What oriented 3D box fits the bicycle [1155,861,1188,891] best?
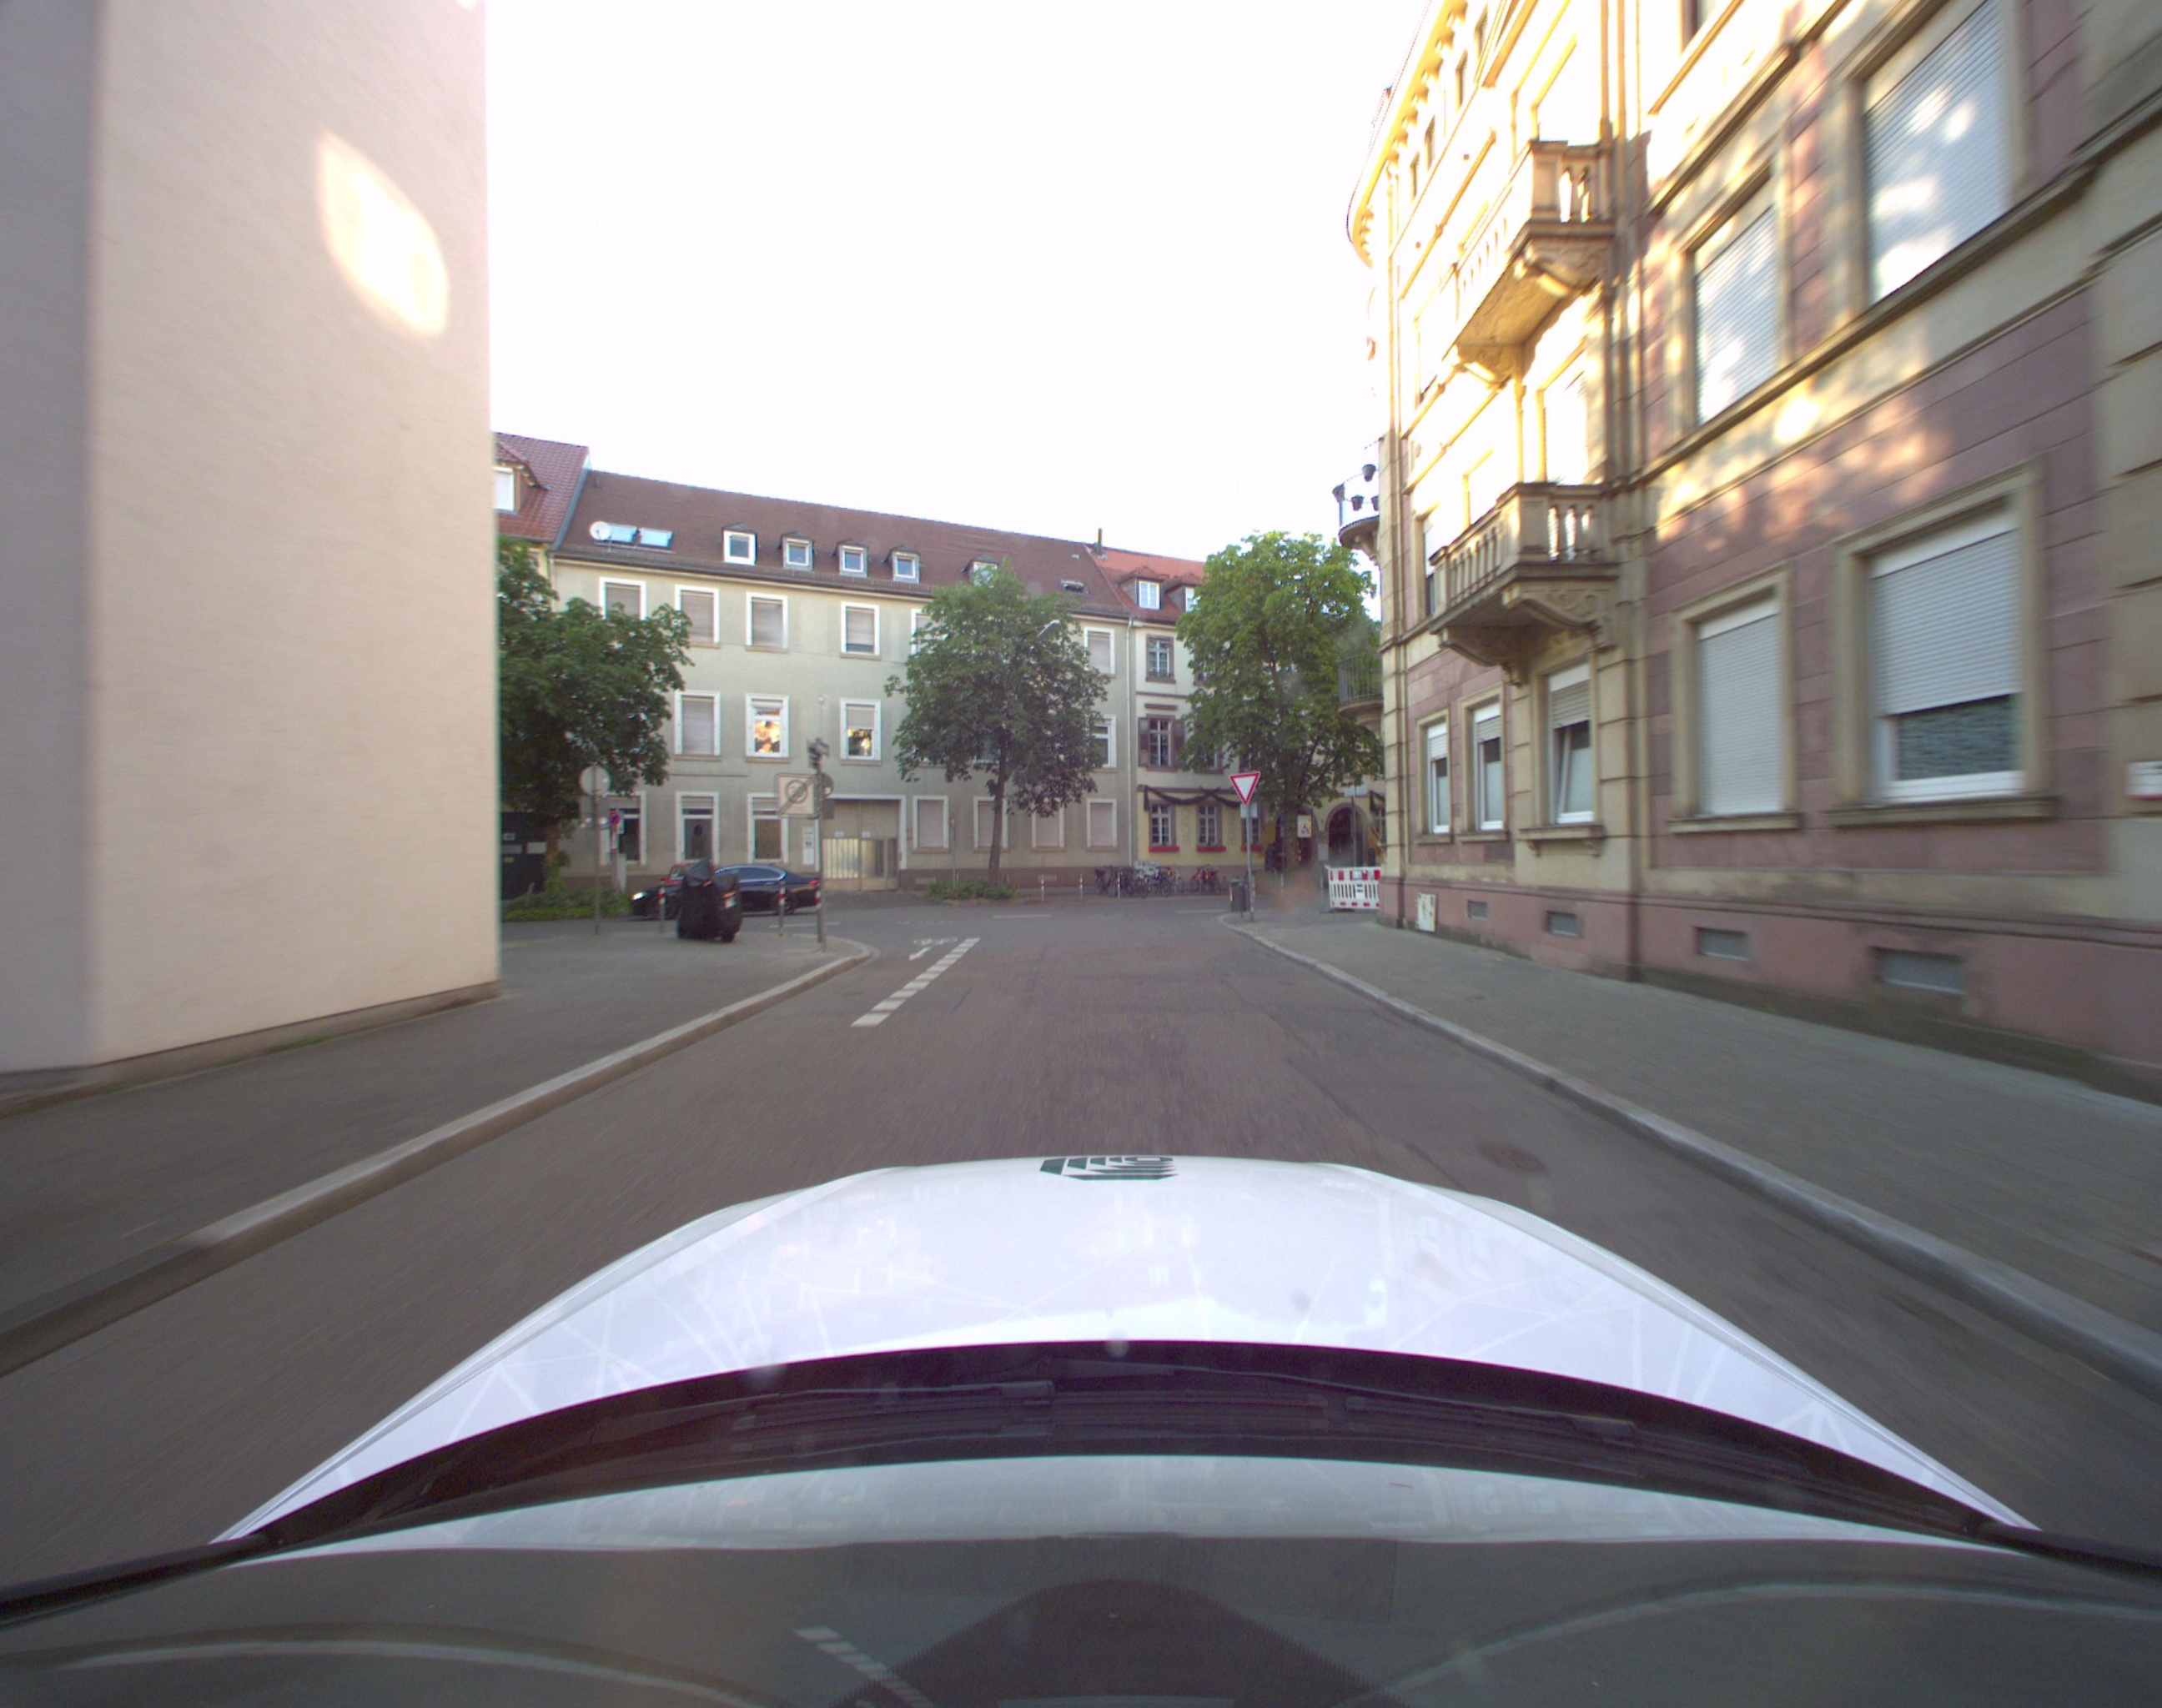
[{"bbox_3d":[3.628,0.872,32.845,0.422,1.145,2.027,-1,0,-22],"label":"bicycle"}]

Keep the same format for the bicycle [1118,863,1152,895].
[{"bbox_3d":[2.003,0.919,30.402,0.446,1.145,2.028,-1,0,-21],"label":"bicycle"}]

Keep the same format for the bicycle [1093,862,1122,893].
[{"bbox_3d":[1.027,0.883,31.594,0.446,1.145,2.030,-1,0,-18],"label":"bicycle"}]

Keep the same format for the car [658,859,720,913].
[{"bbox_3d":[-12.106,0.931,25.289,1.567,1.475,3.639,-1,1,-23],"label":"car"}]

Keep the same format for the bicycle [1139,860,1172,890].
[{"bbox_3d":[2.950,0.823,32.647,0.422,1.145,2.027,-1,0,-22],"label":"bicycle"}]

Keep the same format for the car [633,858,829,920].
[{"bbox_3d":[-9.347,0.875,21.965,4.676,1.450,1.753,-1,0,-25],"label":"car"}]

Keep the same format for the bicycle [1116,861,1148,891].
[{"bbox_3d":[1.976,0.846,31.976,0.422,1.145,2.027,-1,0,-22],"label":"bicycle"}]

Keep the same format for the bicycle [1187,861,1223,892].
[{"bbox_3d":[4.915,0.875,32.294,0.422,1.145,2.027,-1,0,-22],"label":"bicycle"}]

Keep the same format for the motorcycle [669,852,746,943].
[{"bbox_3d":[-6.868,0.747,14.922,0.673,1.555,2.136,-1,0,-42],"label":"motorcycle"}]

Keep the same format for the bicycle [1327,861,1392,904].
[{"bbox_3d":[7.666,0.776,22.401,1.871,1.089,0.362,-2,-1,-22],"label":"bicycle"}]

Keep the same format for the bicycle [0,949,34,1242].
[{"bbox_3d":[-4.238,0.929,2.284,0.399,1.102,1.810,0,0,-5],"label":"bicycle"}]

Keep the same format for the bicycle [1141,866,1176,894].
[{"bbox_3d":[2.962,0.964,31.175,0.422,1.004,2.027,-1,0,-22],"label":"bicycle"}]
